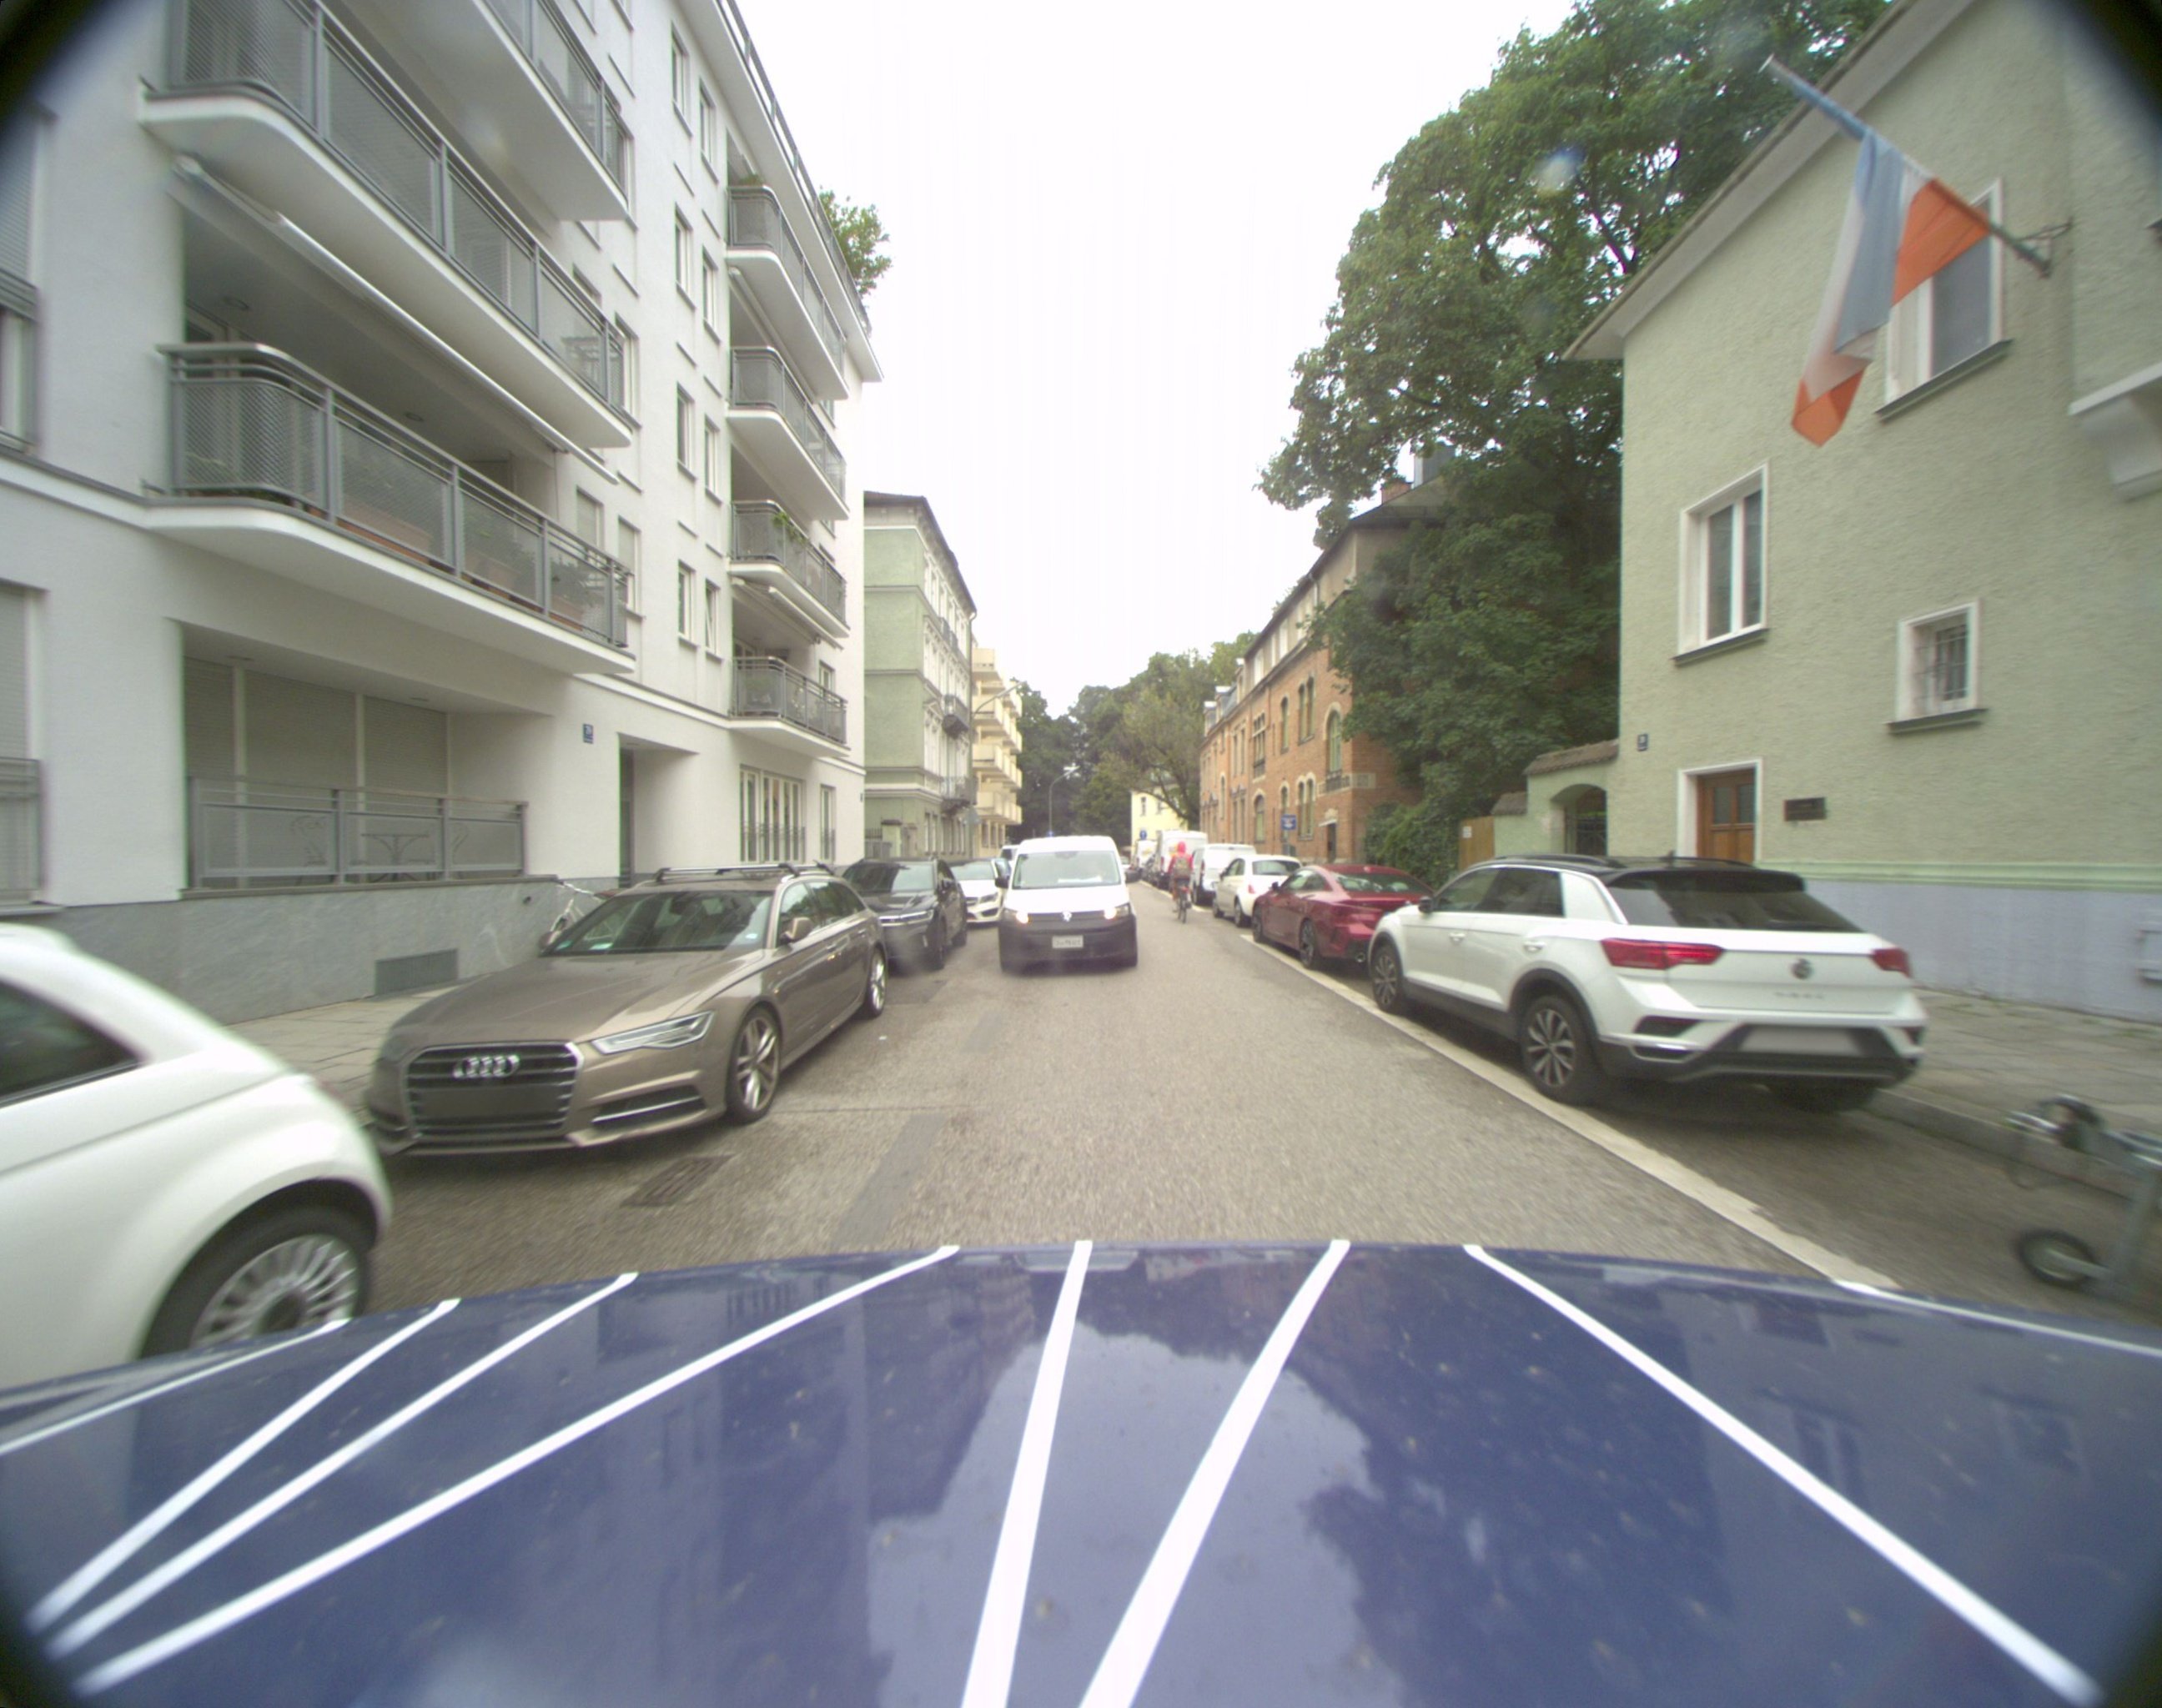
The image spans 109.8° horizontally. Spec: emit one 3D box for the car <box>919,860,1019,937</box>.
[{"bbox_3d":[-2.449,0.914,17.501,1.662,1.431,4.206,-3,0,-1],"label":"car"}]

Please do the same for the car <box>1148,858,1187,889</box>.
[{"bbox_3d":[4.319,0.946,38.373,1.526,1.434,3.541,2,0,1],"label":"car"}]

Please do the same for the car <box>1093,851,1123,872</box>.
[{"bbox_3d":[2.330,0.636,66.440,1.777,1.793,4.568,-1,0,-8],"label":"car"}]

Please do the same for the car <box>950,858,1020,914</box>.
[{"bbox_3d":[-2.750,0.872,22.436,1.623,1.404,3.552,-3,1,-1],"label":"car"}]

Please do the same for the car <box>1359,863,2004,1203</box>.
[{"bbox_3d":[3.698,0.913,5.728,1.691,1.593,3.921,2,0,0],"label":"car"}]

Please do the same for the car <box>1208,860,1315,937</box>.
[{"bbox_3d":[3.816,0.887,16.563,1.477,1.458,3.313,1,0,-1],"label":"car"}]

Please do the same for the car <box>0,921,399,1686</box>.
[{"bbox_3d":[-3.052,1.014,0.751,1.523,1.521,3.526,-2,0,0],"label":"car"}]

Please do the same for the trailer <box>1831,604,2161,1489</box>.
[{"bbox_3d":[3.783,0.545,0.811,1.713,2.447,4.387,2,0,3],"label":"trailer"}]

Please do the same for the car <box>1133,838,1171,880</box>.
[{"bbox_3d":[4.590,0.342,49.816,2.118,2.525,4.421,3,0,1],"label":"car"}]

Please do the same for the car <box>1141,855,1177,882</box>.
[{"bbox_3d":[4.447,0.826,43.712,1.694,1.434,3.984,2,0,1],"label":"car"}]

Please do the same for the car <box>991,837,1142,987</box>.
[{"bbox_3d":[-0.107,0.692,11.106,1.776,1.761,4.000,-1,0,2],"label":"car"}]

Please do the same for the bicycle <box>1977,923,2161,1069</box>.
[{"bbox_3d":[7.855,1.049,5.436,0.524,0.901,1.929,-3,0,-3],"label":"bicycle"}]

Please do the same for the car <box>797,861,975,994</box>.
[{"bbox_3d":[-2.693,0.927,11.400,1.608,1.521,3.983,-3,0,-1],"label":"car"}]

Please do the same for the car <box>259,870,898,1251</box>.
[{"bbox_3d":[-2.819,0.983,5.751,1.738,1.521,4.621,-3,0,-1],"label":"car"}]

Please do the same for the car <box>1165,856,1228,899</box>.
[{"bbox_3d":[4.179,0.801,28.015,1.694,1.434,4.145,1,0,1],"label":"car"}]

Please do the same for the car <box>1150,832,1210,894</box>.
[{"bbox_3d":[4.269,0.348,33.488,1.986,2.463,5.223,1,0,1],"label":"car"}]

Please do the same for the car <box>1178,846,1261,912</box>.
[{"bbox_3d":[4.072,0.687,22.966,1.694,1.793,4.145,1,0,-1],"label":"car"}]

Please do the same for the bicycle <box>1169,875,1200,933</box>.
[{"bbox_3d":[2.204,1.036,16.335,0.505,1.121,1.773,1,0,3],"label":"bicycle"}]

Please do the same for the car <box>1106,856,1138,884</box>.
[{"bbox_3d":[2.184,0.814,41.188,1.585,1.403,3.612,0,1,1],"label":"car"}]

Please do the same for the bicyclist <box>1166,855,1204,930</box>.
[{"bbox_3d":[2.212,0.800,16.259,0.695,1.552,0.967,1,1,3],"label":"bicyclist"}]

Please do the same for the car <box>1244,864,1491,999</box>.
[{"bbox_3d":[3.828,0.942,11.095,1.865,1.404,4.332,2,1,-1],"label":"car"}]

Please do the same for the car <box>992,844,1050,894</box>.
[{"bbox_3d":[-2.454,0.580,32.225,1.858,1.885,4.592,-2,0,2],"label":"car"}]

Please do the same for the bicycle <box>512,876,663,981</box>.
[{"bbox_3d":[-6.334,0.905,9.916,0.629,1.153,2.127,0,0,-2],"label":"bicycle"}]
